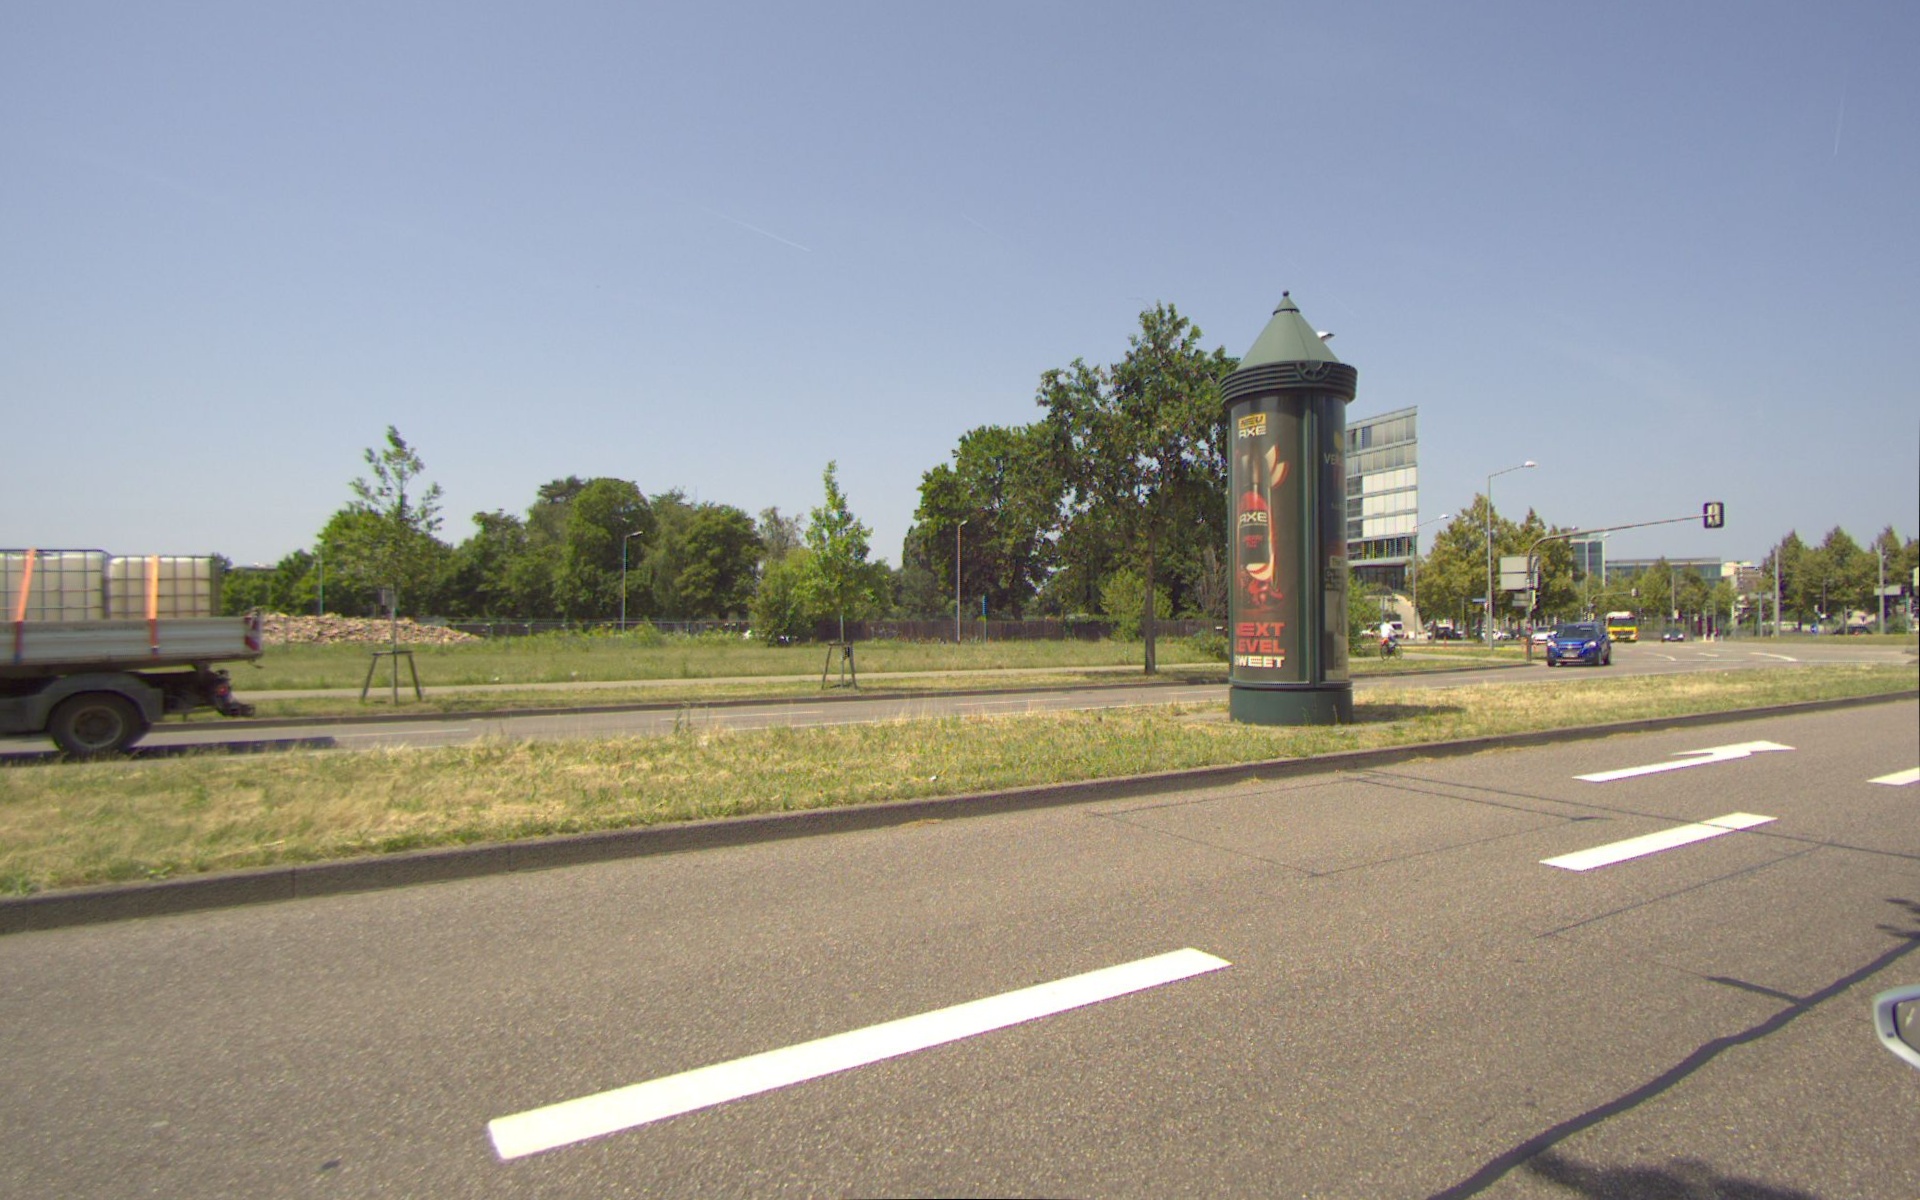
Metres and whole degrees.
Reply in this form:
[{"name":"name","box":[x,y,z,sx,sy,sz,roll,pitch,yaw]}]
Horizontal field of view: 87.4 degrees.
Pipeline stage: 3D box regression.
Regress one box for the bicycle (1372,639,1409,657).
[{"name":"bicycle","box":[18.612,2.065,43.446,1.828,0.724,0.479,1,-2,-30]}]

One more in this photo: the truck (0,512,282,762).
[{"name":"truck","box":[-11.345,0.450,11.176,6.255,2.610,2.622,1,-4,-35]}]

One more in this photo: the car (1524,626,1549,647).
[{"name":"car","box":[43.923,2.765,76.548,1.647,1.557,3.855,-1,-2,30]}]

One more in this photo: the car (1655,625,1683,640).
[{"name":"car","box":[63.150,2.926,89.512,1.824,1.293,3.990,-1,-2,32]}]

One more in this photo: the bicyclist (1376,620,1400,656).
[{"name":"bicyclist","box":[18.505,1.634,43.416,0.748,1.509,0.620,1,-1,-30]}]

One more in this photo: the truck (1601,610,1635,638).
[{"name":"truck","box":[62.873,2.314,96.037,2.320,2.629,6.400,-1,-2,30]}]

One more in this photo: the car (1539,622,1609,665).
[{"name":"car","box":[24.388,1.703,39.848,1.968,1.617,3.985,-1,-2,37]}]

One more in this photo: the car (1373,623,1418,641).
[{"name":"car","box":[47.925,3.517,110.597,4.203,1.903,2.001,0,-1,3]}]

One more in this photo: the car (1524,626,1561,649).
[{"name":"car","box":[38.231,2.430,65.974,1.713,1.443,3.837,-1,-2,25]}]

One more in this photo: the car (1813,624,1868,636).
[{"name":"car","box":[91.276,3.109,104.229,1.963,1.305,3.995,0,-2,-8]}]
